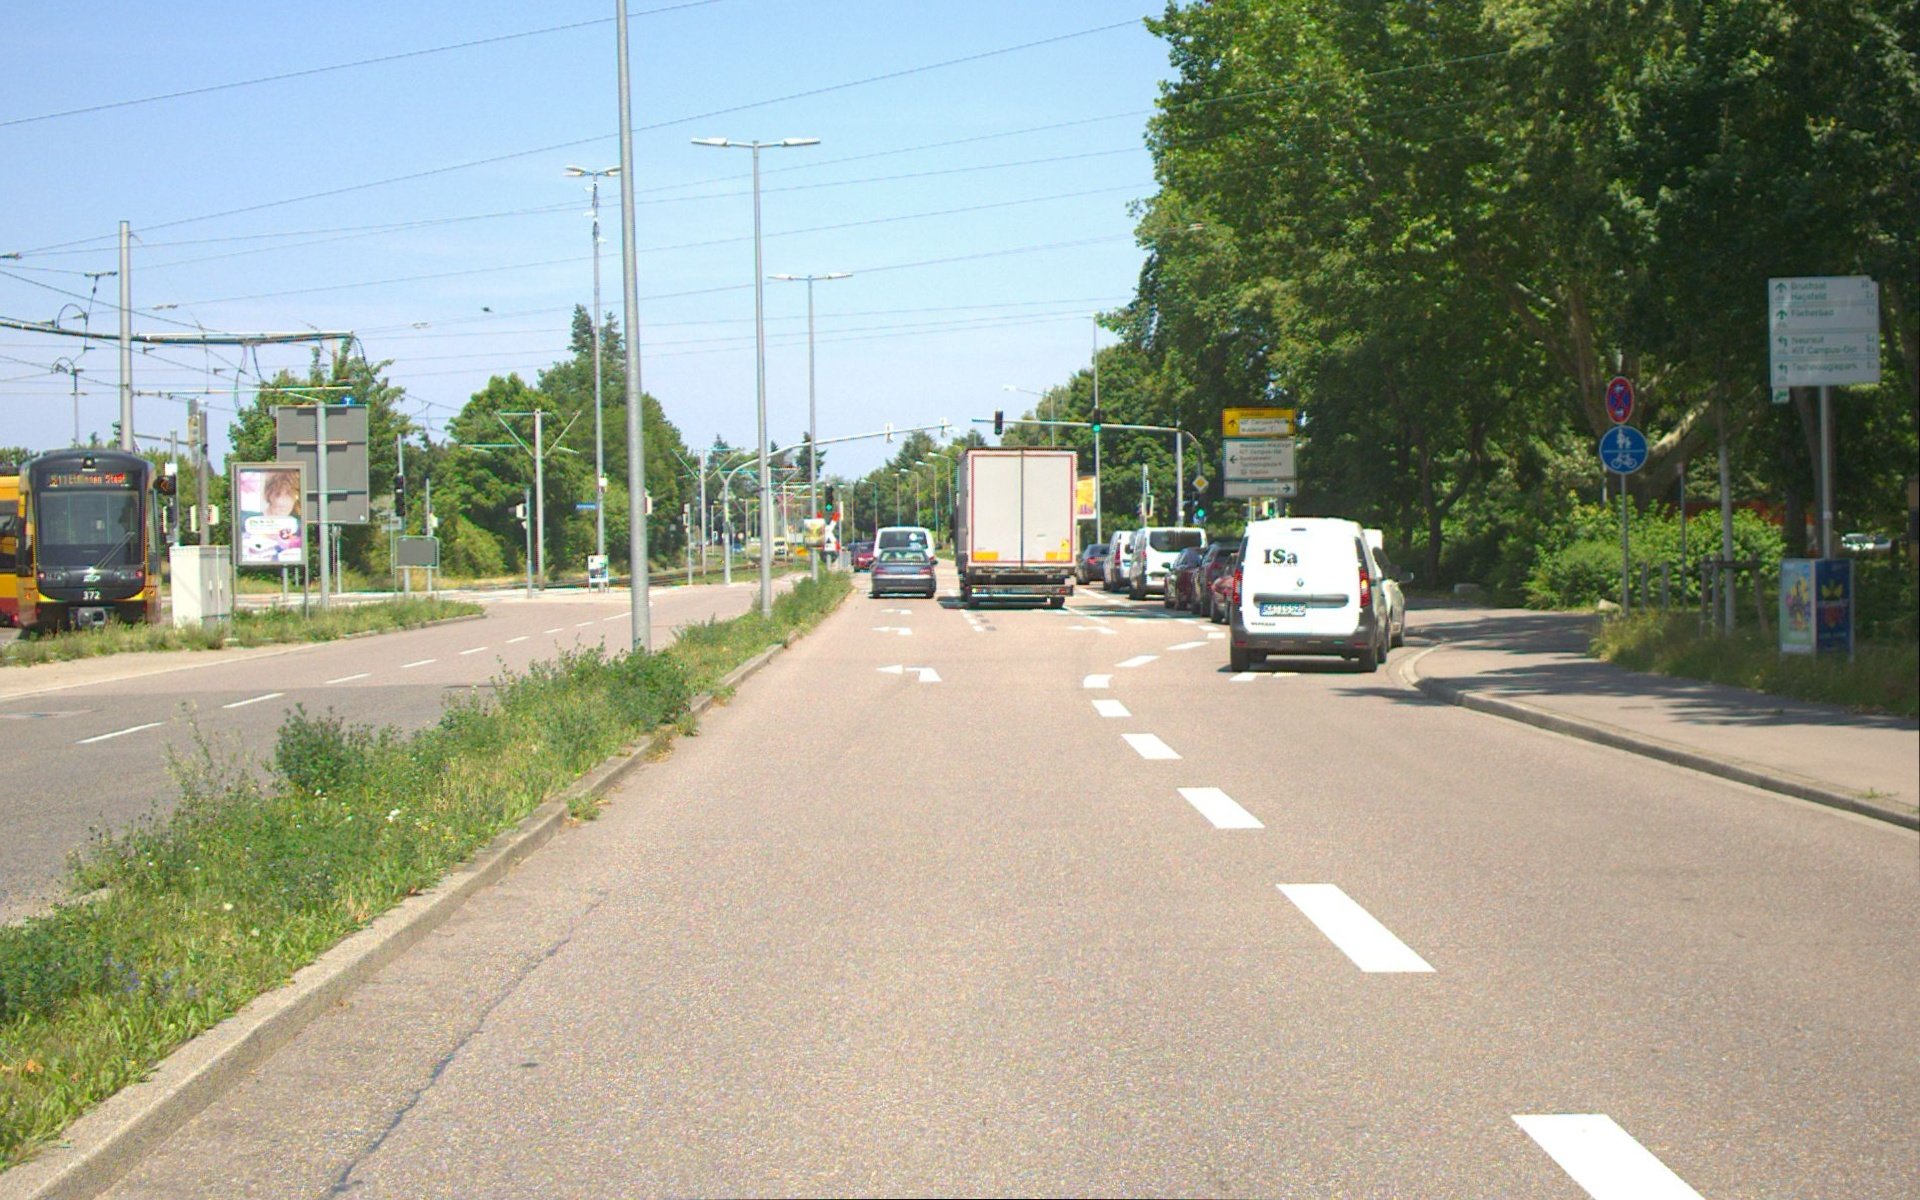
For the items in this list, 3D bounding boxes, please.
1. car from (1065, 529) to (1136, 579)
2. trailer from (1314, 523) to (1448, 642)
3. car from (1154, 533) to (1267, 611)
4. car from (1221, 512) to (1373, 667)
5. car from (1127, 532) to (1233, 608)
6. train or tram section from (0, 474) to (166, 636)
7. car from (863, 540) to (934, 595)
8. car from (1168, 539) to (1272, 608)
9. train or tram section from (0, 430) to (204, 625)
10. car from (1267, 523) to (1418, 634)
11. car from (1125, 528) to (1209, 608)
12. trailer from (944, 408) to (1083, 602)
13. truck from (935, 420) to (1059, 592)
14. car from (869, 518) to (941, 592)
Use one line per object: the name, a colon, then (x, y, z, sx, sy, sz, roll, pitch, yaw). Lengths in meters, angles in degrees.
car: (4.283, -1.433, 105.181, 1.993, 1.432, 4.251, 0, 2, 0)
trailer: (6.113, -0.279, 50.128, 1.468, 1.663, 2.856, 1, 1, -2)
car: (4.667, -0.556, 64.586, 1.654, 1.392, 4.268, 1, 1, -2)
car: (4.074, -0.162, 41.384, 1.710, 1.741, 4.426, 1, 1, 6)
car: (4.643, -0.663, 73.044, 1.858, 1.544, 3.887, 1, 1, -2)
train or tram section: (-21.900, -1.084, 78.306, 3.037, 3.454, 10.220, 0, 1, -40)
car: (-1.712, -0.881, 94.942, 1.892, 1.367, 4.430, 2, -1, -1)
car: (6.041, -0.647, 80.309, 1.993, 1.498, 4.503, -1, 2, -1)
train or tram section: (-17.060, -1.431, 67.667, 3.035, 3.454, 13.297, 0, 1, -18)
car: (5.940, -0.364, 53.774, 1.699, 1.648, 4.399, 1, 1, -2)
car: (5.593, -0.889, 93.256, 1.890, 2.114, 3.887, 1, 1, -2)
trailer: (1.211, -2.272, 83.045, 2.827, 4.406, 8.750, 1, 1, -2)
truck: (0.906, -2.512, 91.531, 2.827, 4.329, 8.285, 1, 2, -2)
car: (-1.677, -1.368, 102.538, 1.993, 2.103, 4.748, 0, 2, -3)
